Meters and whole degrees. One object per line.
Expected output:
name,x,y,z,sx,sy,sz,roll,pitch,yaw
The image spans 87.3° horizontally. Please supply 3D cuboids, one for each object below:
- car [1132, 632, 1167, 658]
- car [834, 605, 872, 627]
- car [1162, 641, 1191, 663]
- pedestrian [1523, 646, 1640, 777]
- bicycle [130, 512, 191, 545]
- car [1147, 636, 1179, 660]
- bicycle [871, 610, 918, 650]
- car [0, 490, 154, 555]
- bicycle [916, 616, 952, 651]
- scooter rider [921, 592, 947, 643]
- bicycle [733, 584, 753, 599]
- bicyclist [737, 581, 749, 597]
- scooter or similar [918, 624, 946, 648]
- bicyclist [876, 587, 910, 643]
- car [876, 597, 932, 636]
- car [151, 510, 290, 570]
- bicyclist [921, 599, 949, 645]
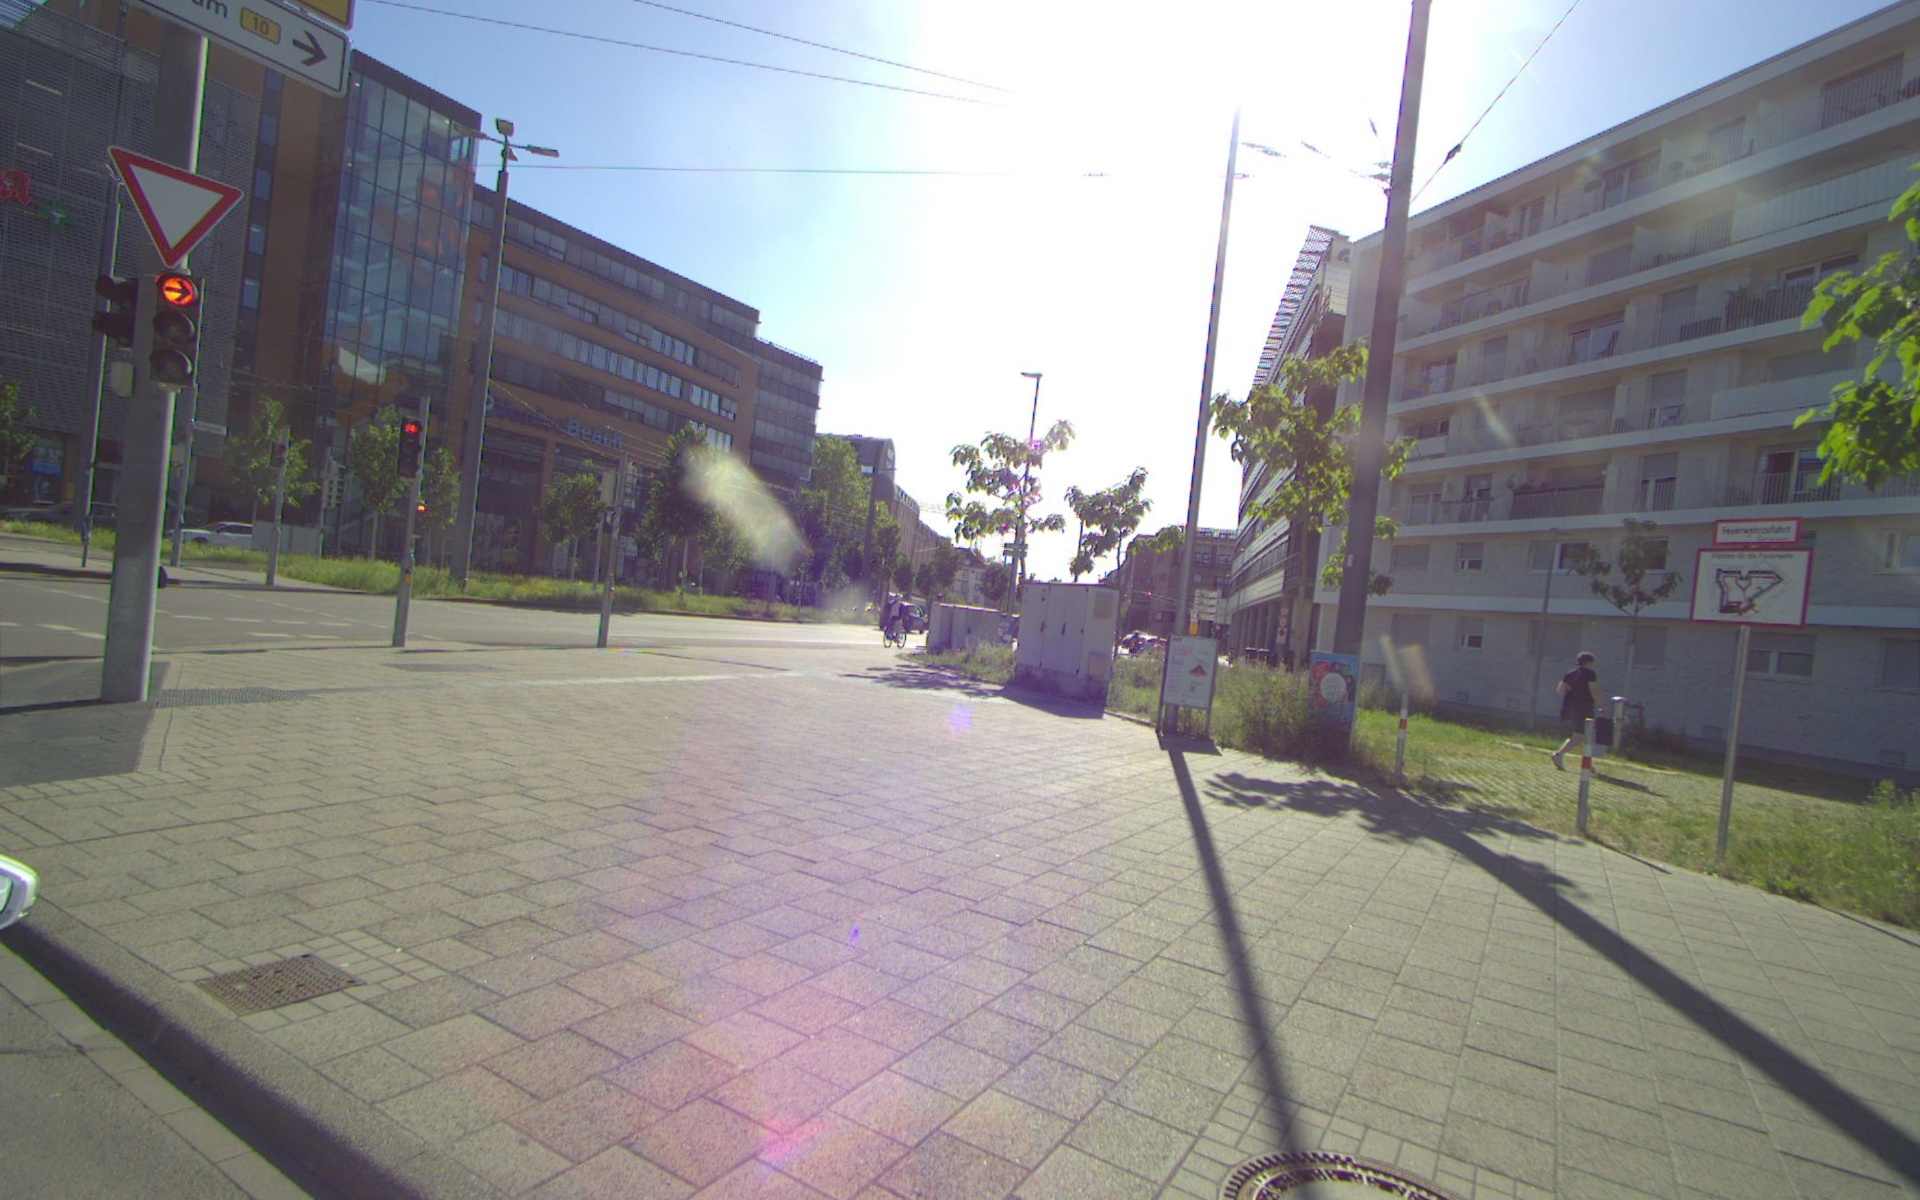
car,13.431,3.204,71.297,1.677,1.515,4.281,7,-2,19
car,-10.835,1.620,102.286,1.807,1.600,4.310,7,-5,23
car,17.914,4.318,83.265,1.677,1.515,4.281,7,-2,19
pedestrian,9.023,1.604,14.637,0.970,1.719,0.842,6,2,-16
bicycle,-40.520,-3.611,51.033,0.595,1.310,2.260,7,-2,30
car,15.668,3.700,77.395,1.677,1.515,4.281,7,-2,19
bicycle,-2.155,1.004,33.374,0.571,1.150,1.907,7,-2,25
car,-32.070,-2.770,36.326,1.810,1.484,4.161,6,-5,30
bicycle,-0.963,1.256,37.410,0.576,1.150,1.761,7,-2,22
scooter rider,-1.022,0.701,39.574,0.563,1.894,0.787,7,-1,22
bicycle,-20.705,-0.795,96.032,0.559,1.232,1.859,9,1,31
bicyclist,-20.710,-1.039,95.956,0.556,1.404,0.754,9,2,31
scooter or similar,-1.090,1.418,39.618,0.603,0.795,1.213,7,-2,22
bicyclist,-2.192,0.513,33.182,0.563,1.727,0.885,7,-1,25
car,-2.852,0.885,51.823,1.615,1.665,3.704,7,-1,15
car,-31.812,-2.556,43.403,1.810,1.661,4.303,6,-5,31
bicyclist,-0.918,0.825,37.405,0.563,1.585,0.886,7,-1,22
